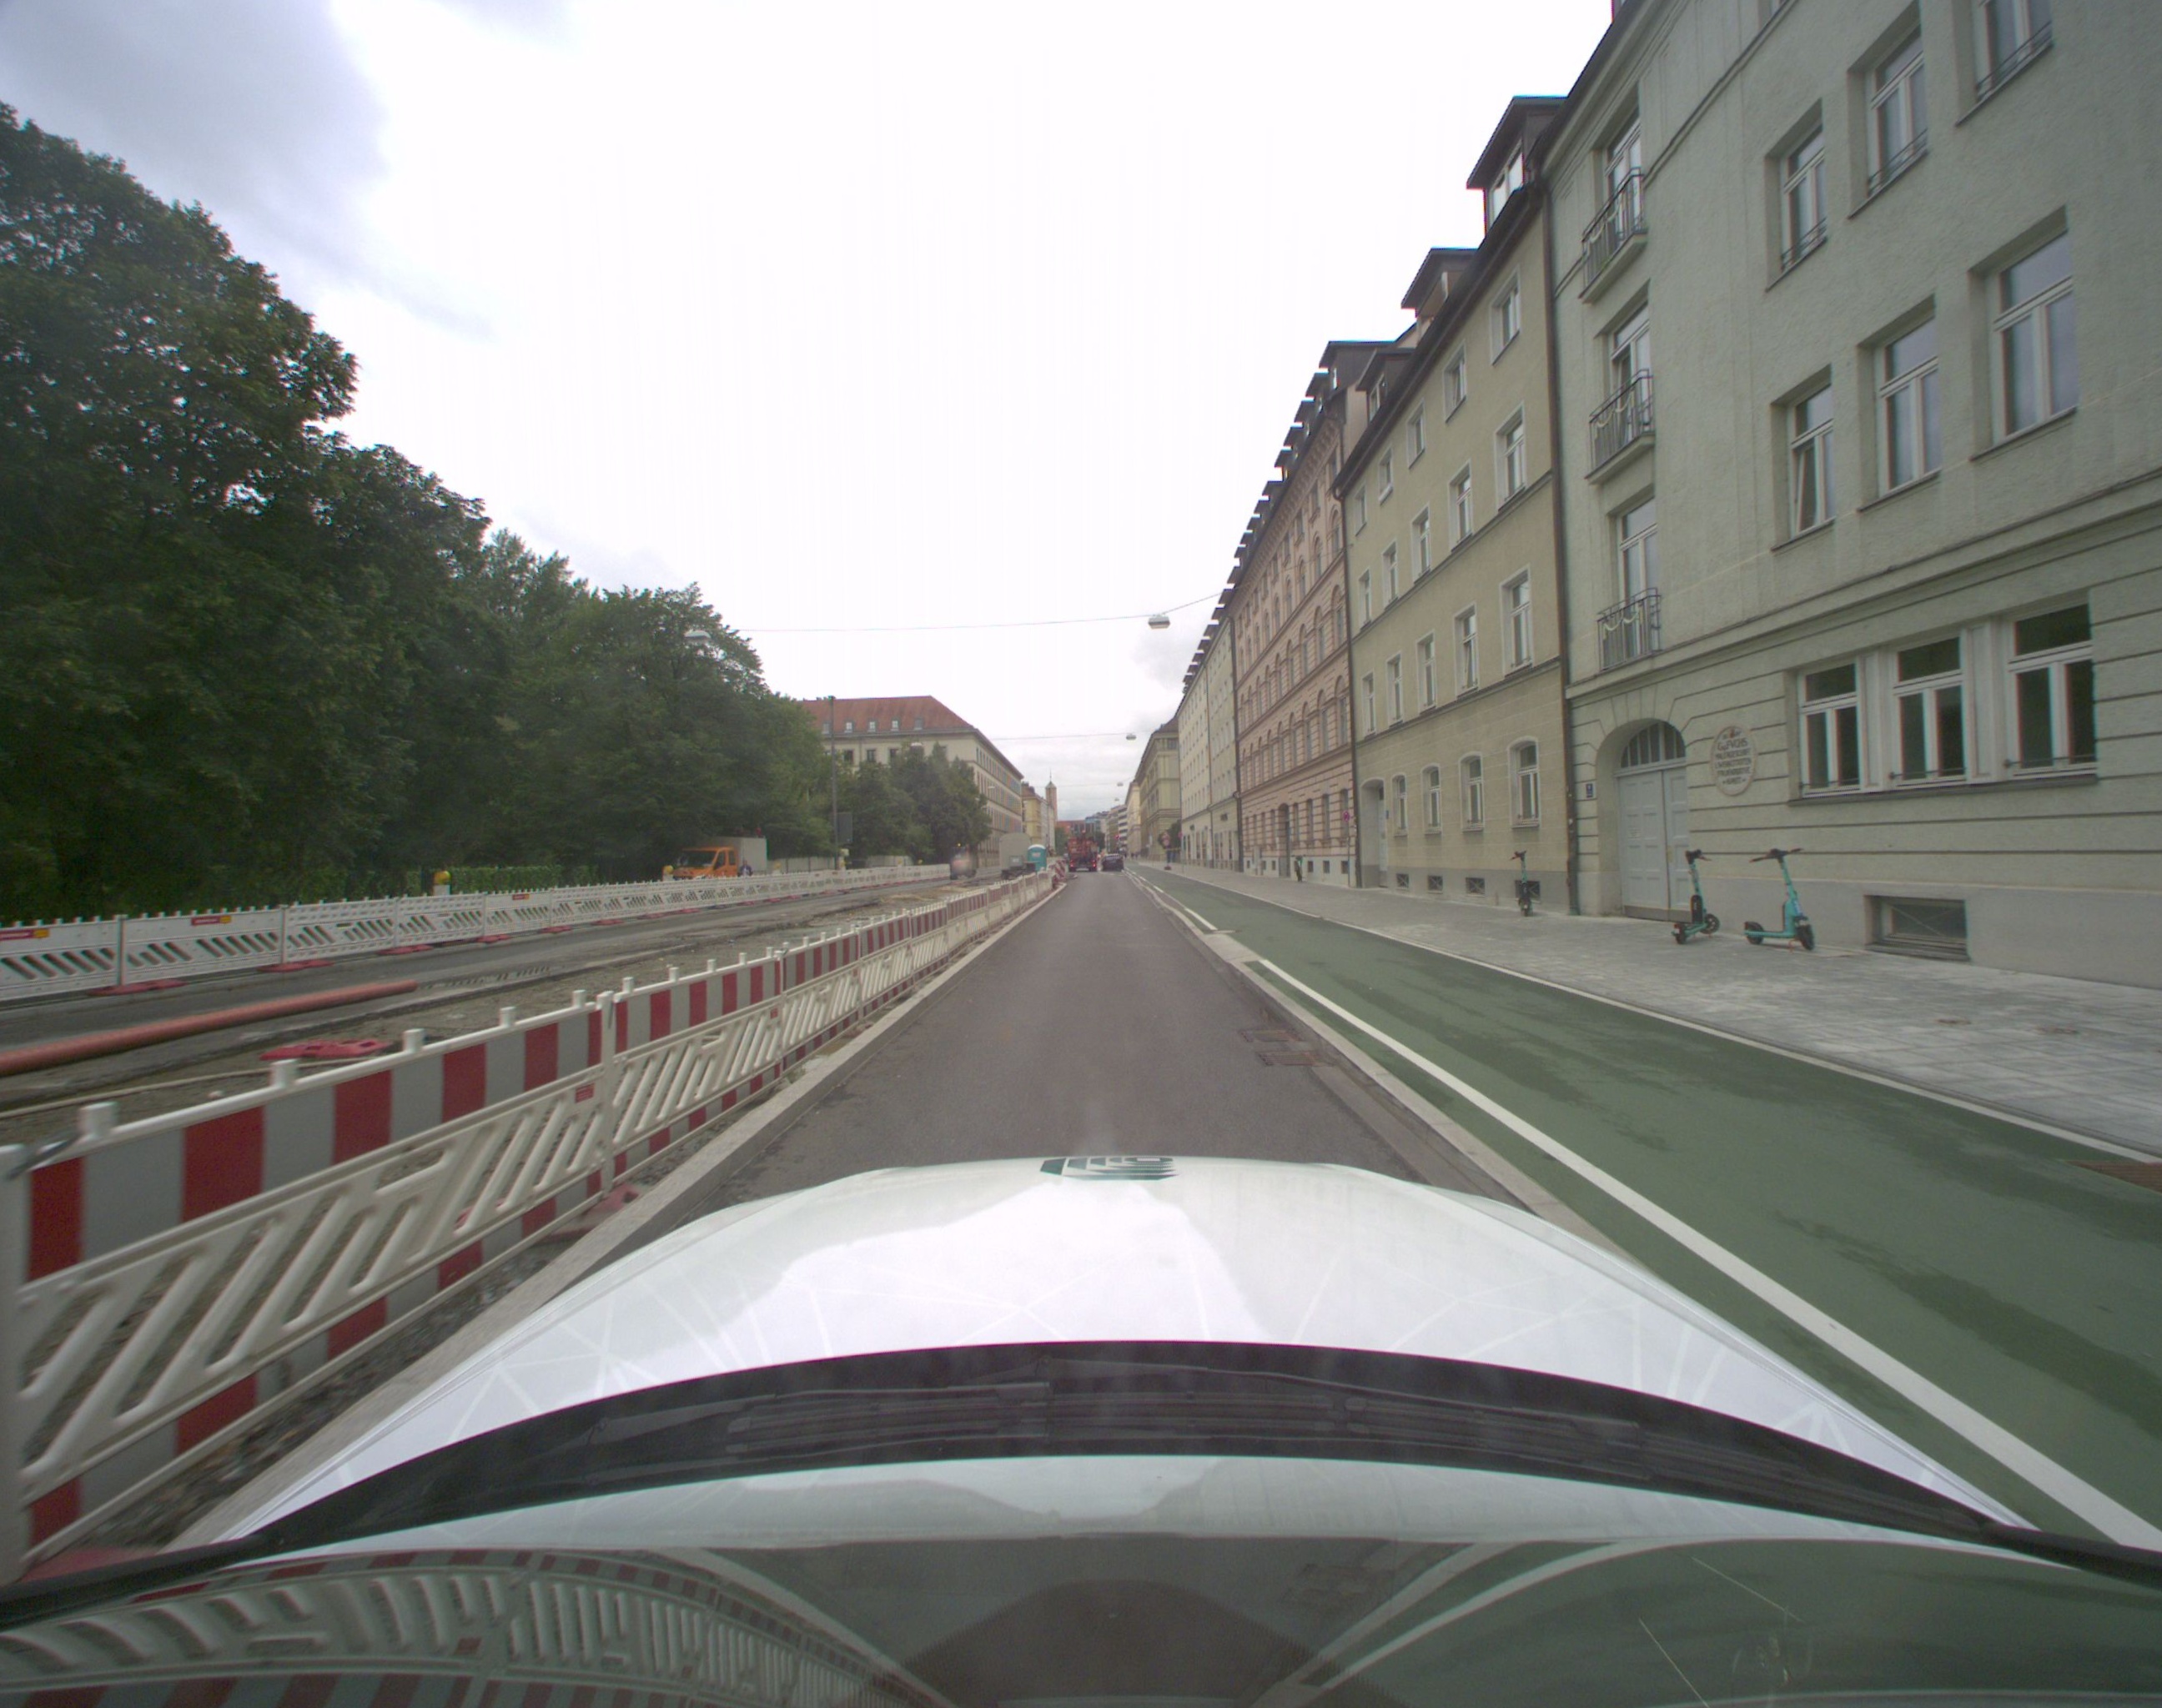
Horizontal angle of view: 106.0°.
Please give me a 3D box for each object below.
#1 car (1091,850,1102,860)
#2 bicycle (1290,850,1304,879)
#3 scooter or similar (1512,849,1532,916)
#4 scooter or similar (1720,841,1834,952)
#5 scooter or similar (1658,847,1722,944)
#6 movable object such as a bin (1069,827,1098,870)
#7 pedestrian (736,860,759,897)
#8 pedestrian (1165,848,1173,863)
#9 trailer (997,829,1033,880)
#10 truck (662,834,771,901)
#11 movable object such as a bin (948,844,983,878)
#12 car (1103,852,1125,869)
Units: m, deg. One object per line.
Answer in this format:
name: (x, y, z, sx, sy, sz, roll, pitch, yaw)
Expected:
car: (2.555, 0.111, 132.966, 1.604, 1.495, 3.425, -2, 0, 1)
bicycle: (9.160, 0.435, 34.523, 0.422, 1.174, 1.740, -3, 0, 18)
scooter or similar: (8.638, 0.541, 15.957, 0.244, 1.231, 1.126, -4, -1, 27)
scooter or similar: (8.635, 0.504, 10.151, 0.385, 1.272, 1.120, -4, -1, 1)
scooter or similar: (8.360, 0.545, 11.163, 1.124, 1.231, 0.244, -3, -1, -32)
movable object such as a bin: (0.217, -0.466, 72.716, 2.415, 3.611, 5.851, -1, 0, 0)
pedestrian: (-14.511, 1.063, 35.450, 0.660, 1.603, 0.698, -1, 0, 2)
pedestrian: (11.148, 0.157, 103.174, 0.787, 1.836, 0.777, -2, 0, 2)
trailer: (-4.531, 0.008, 57.044, 2.222, 3.243, 7.510, -2, 0, -3)
truck: (-16.198, 0.544, 36.605, 1.986, 2.728, 5.873, -2, 0, 2)
movable object such as a bin: (-9.161, 0.535, 64.866, 1.916, 2.572, 4.496, -1, 0, 3)
car: (2.935, 0.567, 74.061, 1.796, 1.480, 4.687, -2, 0, 0)
